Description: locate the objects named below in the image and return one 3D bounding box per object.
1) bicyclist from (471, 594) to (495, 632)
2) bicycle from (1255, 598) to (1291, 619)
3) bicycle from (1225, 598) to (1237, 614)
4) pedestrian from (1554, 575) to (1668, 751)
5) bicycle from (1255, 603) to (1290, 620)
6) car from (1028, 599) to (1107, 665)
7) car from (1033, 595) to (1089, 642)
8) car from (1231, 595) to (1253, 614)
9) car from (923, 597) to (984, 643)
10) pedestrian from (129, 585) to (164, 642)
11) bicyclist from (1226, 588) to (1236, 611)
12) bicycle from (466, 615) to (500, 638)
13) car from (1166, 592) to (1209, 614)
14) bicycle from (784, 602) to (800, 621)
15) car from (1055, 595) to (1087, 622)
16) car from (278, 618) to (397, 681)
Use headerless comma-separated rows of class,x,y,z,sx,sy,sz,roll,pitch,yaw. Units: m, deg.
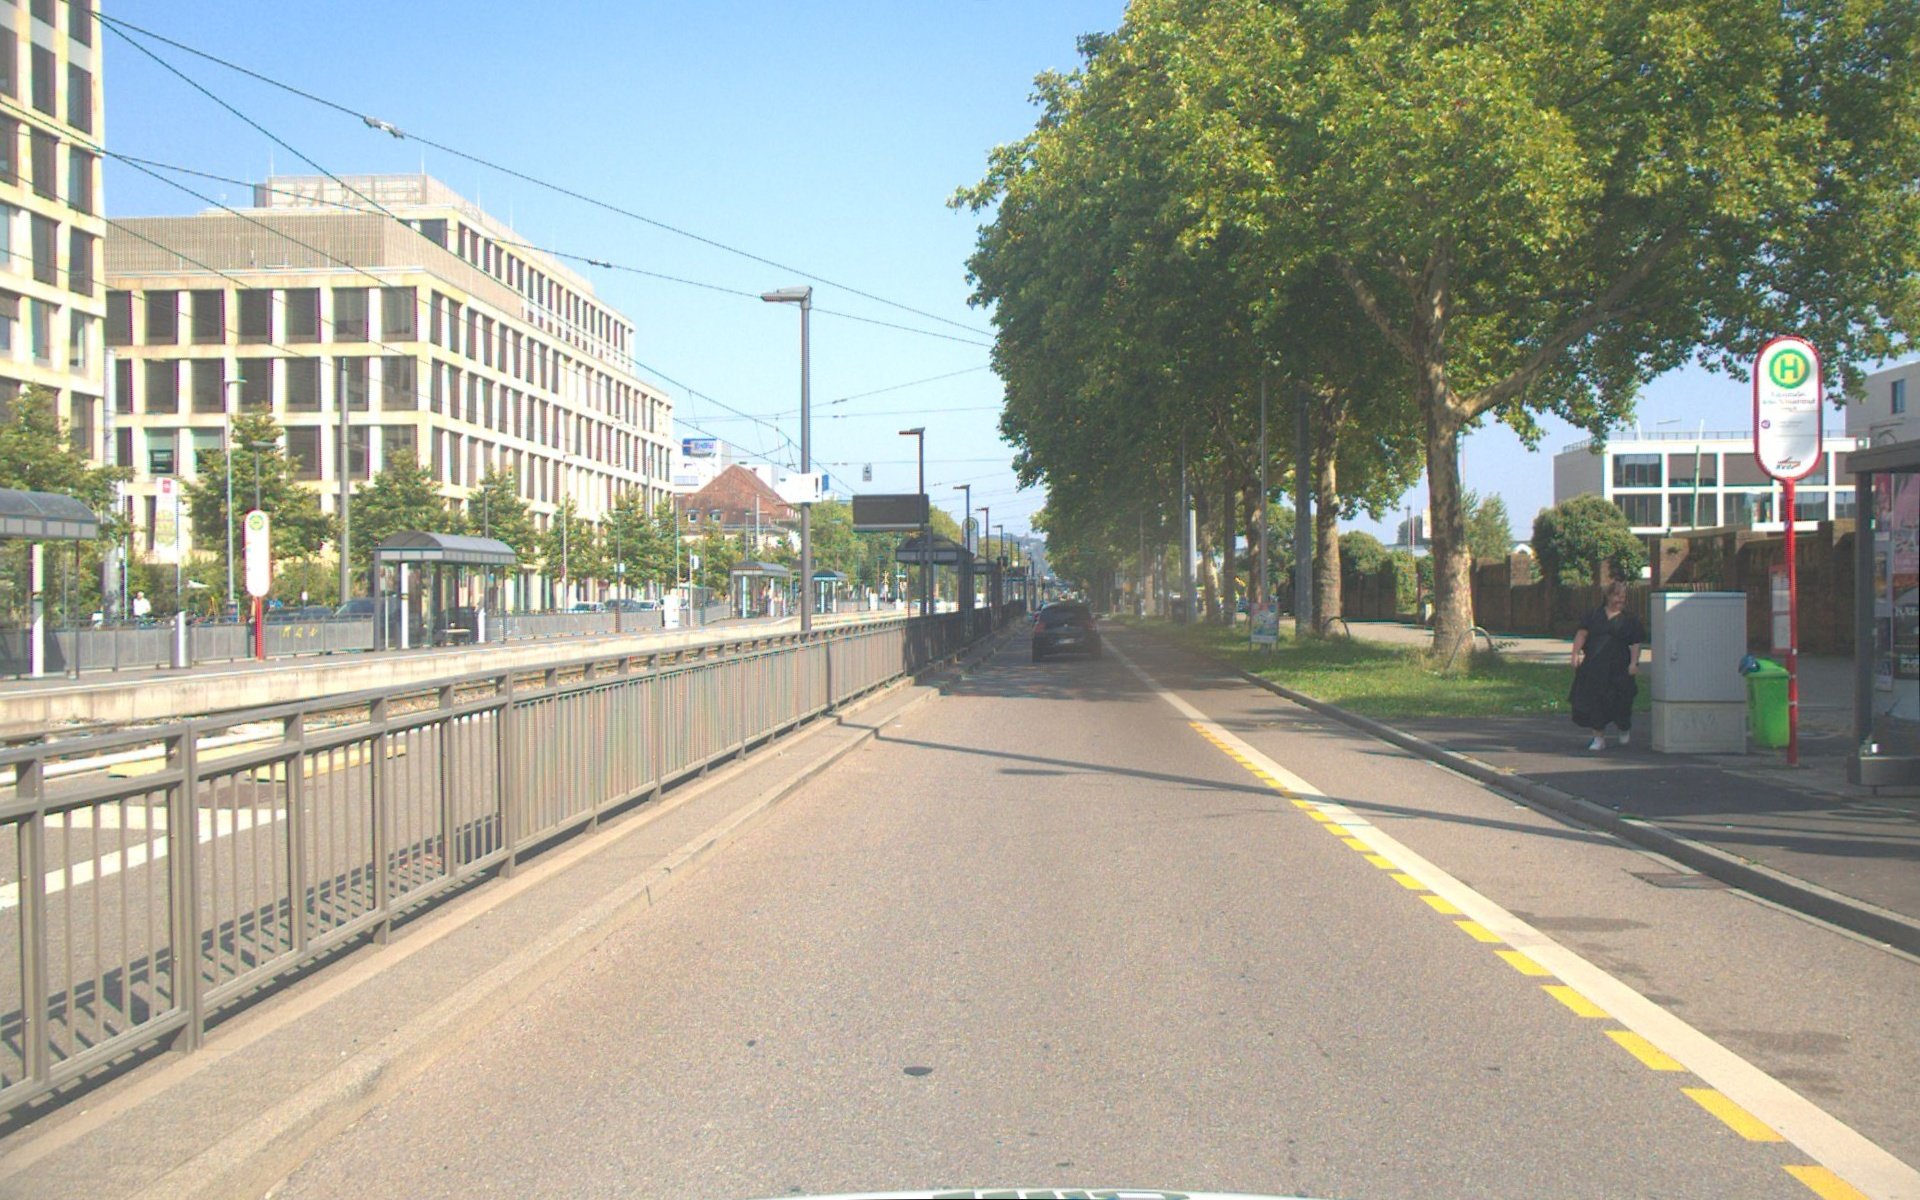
bicyclist,-18.274,0.508,63.360,0.616,1.427,0.784,-4,-2,3
bicycle,21.187,0.564,112.023,2.197,1.299,0.999,-3,-2,3
bicycle,17.056,0.380,104.180,0.537,1.024,1.714,-1,0,3
pedestrian,6.304,0.598,16.056,0.862,1.654,0.823,-1,0,10
bicycle,20.317,0.757,107.541,2.128,1.095,0.743,-1,-1,2
car,2.716,0.785,42.262,1.867,1.564,4.001,-2,0,3
car,3.827,0.692,62.952,1.932,1.564,4.001,-4,-1,3
car,25.156,0.414,147.680,1.574,1.603,3.798,-2,0,4
car,-0.208,0.743,63.490,1.952,1.586,4.002,-3,0,4
pedestrian,-28.613,0.484,58.184,0.777,1.950,0.838,-3,-2,-2
bicyclist,17.055,-0.031,104.170,0.537,1.478,0.842,-1,0,4
bicycle,-18.247,1.013,63.279,0.616,0.836,1.898,-4,-2,3
car,22.023,0.313,160.099,4.016,1.952,1.849,-2,0,7
bicycle,-10.628,0.709,104.583,0.461,1.167,1.484,-1,-1,18
car,6.658,0.495,99.622,1.867,1.564,4.002,-1,0,3
car,-17.109,1.323,45.651,1.627,1.598,3.761,-1,0,4
